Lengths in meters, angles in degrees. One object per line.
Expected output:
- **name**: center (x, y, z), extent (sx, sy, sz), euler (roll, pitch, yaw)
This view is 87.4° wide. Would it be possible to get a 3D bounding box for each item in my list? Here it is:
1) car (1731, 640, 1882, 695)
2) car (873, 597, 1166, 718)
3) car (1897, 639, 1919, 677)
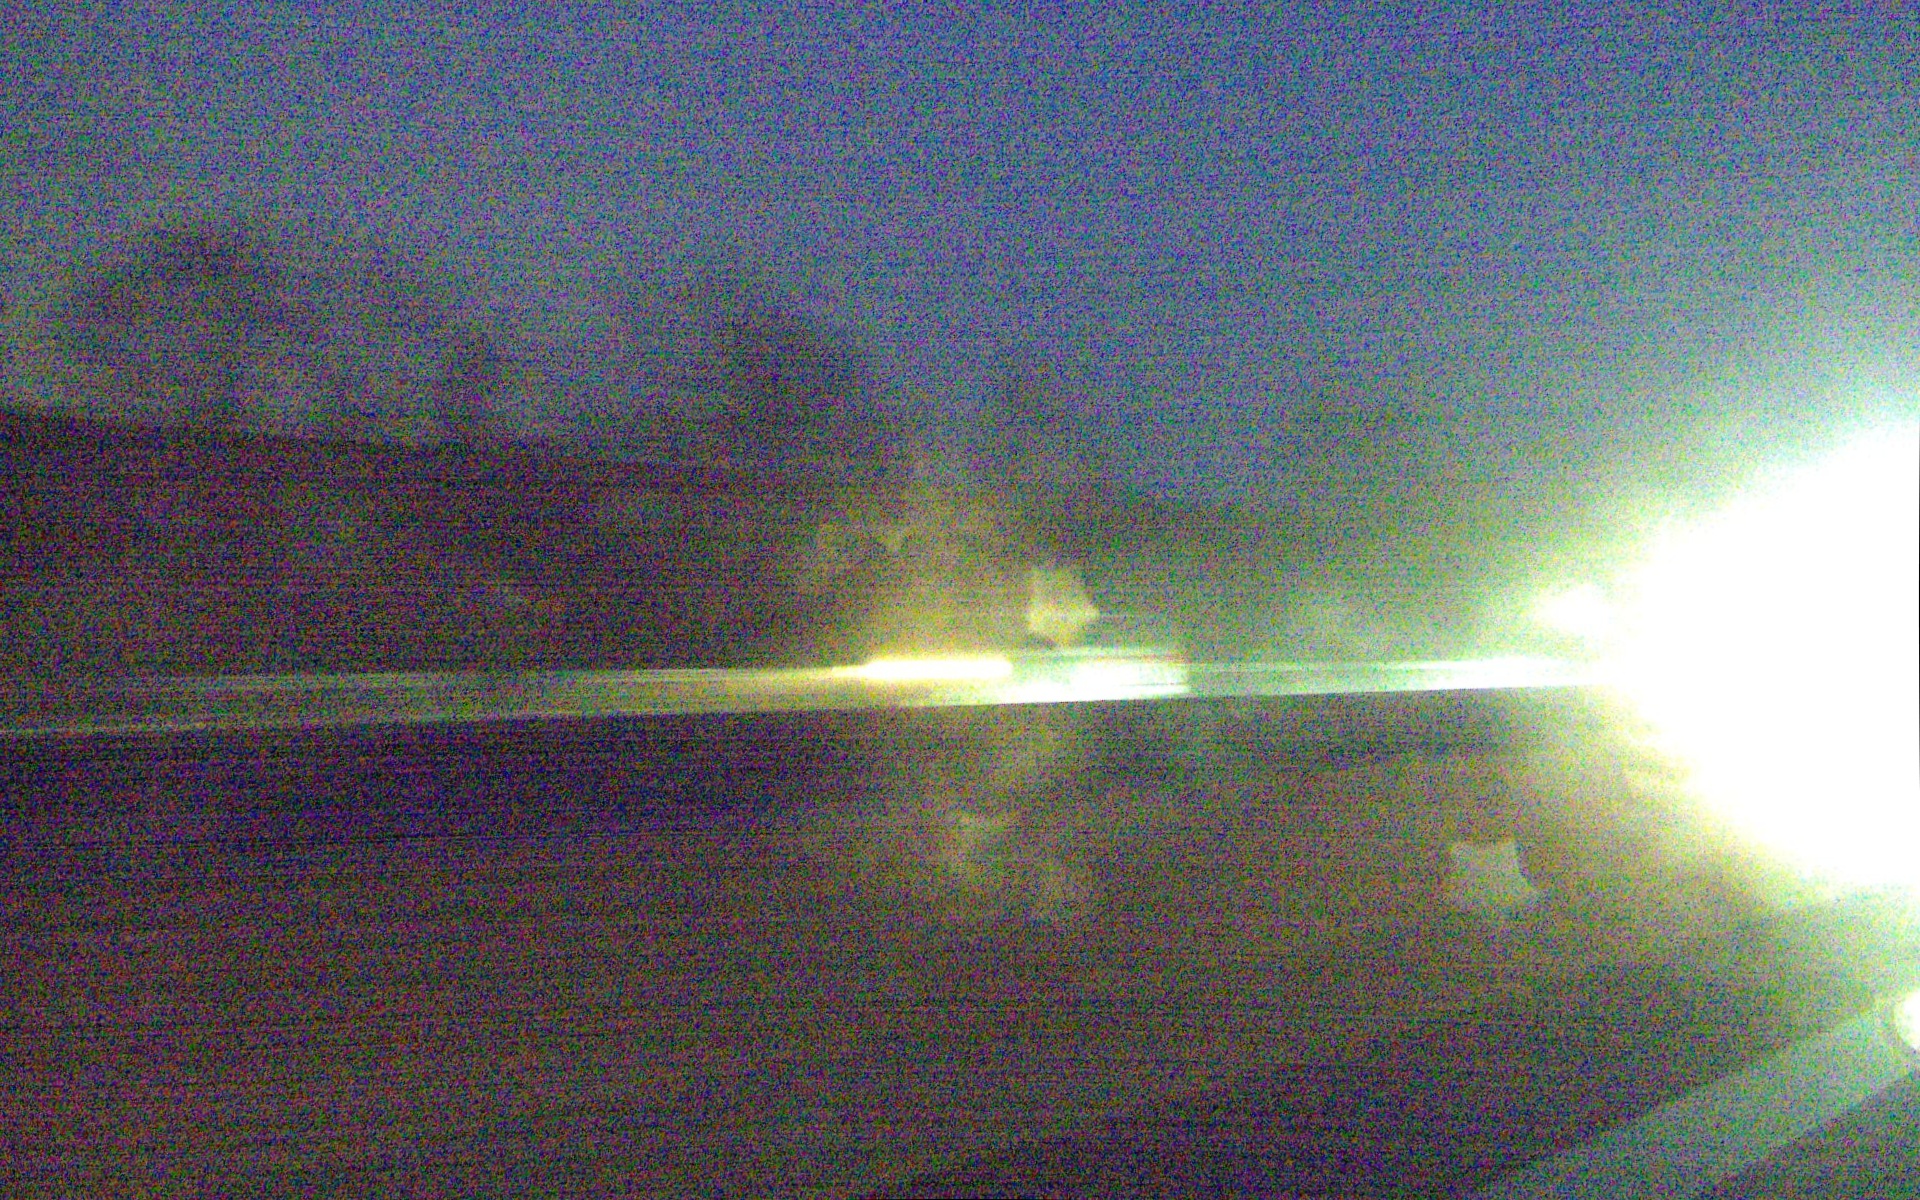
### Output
- **car**: center (24.511, 1.908, 29.073), extent (4.384, 1.459, 1.984), euler (1, -2, -30)
- **car**: center (1.185, 1.040, 18.988), extent (5.293, 2.040, 1.986), euler (1, -2, -28)
- **car**: center (43.742, 2.558, 44.515), extent (4.478, 1.580, 1.985), euler (1, -1, -29)
